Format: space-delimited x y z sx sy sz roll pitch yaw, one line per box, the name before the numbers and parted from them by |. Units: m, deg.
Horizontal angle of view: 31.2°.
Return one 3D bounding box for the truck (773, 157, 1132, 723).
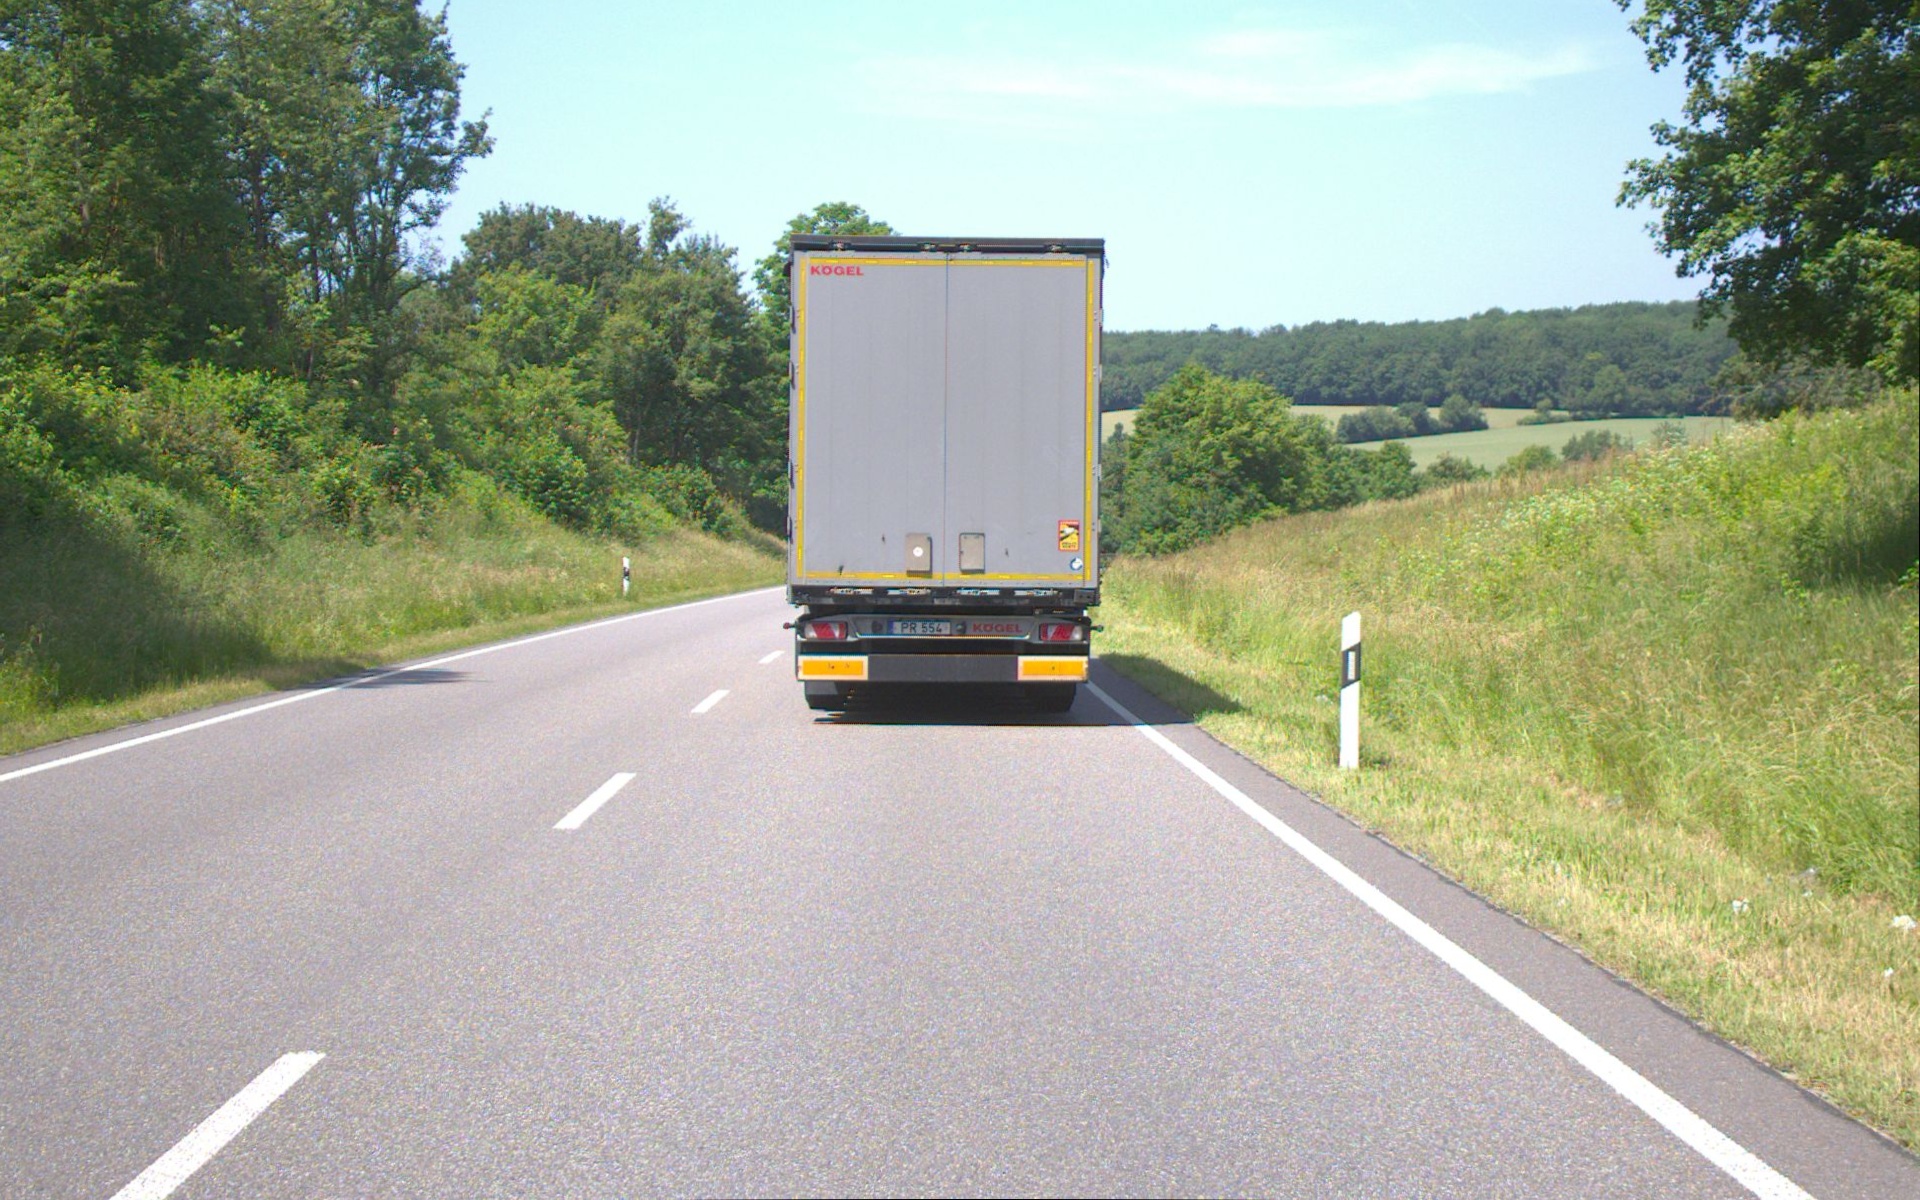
truck | -0.129 -1.406 33.608 2.817 4.517 11.769 1 1 -1
